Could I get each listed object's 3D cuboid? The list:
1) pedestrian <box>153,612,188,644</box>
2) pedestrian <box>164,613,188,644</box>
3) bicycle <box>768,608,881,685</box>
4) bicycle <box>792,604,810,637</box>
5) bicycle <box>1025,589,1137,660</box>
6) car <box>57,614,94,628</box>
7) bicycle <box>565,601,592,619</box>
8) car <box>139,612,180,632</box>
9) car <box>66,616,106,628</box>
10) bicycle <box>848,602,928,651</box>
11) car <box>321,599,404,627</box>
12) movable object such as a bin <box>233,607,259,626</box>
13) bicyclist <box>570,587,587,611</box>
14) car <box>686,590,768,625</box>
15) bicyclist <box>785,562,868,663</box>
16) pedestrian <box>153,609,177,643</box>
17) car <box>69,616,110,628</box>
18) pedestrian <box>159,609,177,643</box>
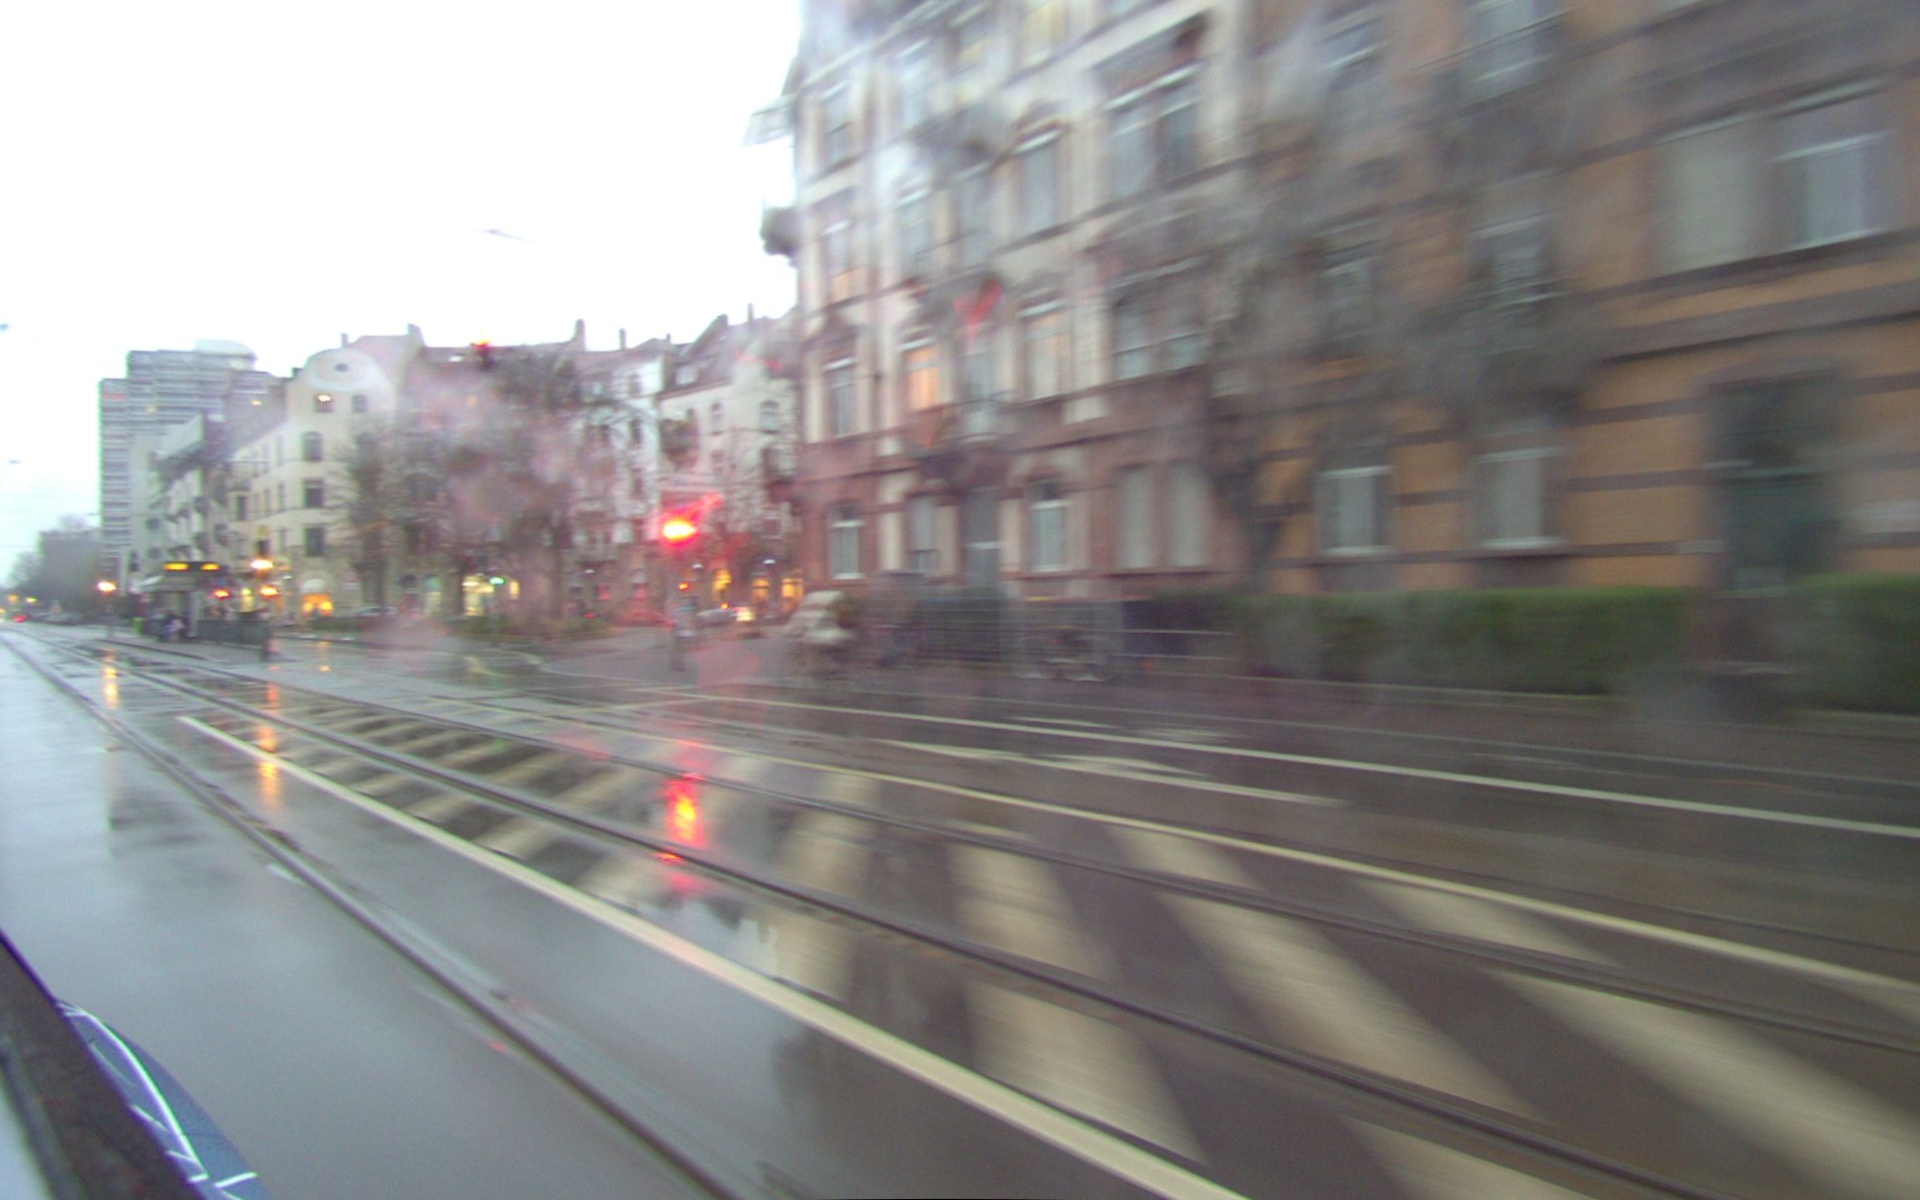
[{"bbox_3d":[-33.692,1.192,43.188,0.507,1.263,1.044,-1,3,45],"label":"pedestrian"},{"bbox_3d":[-33.165,1.207,42.818,0.517,1.227,0.645,-1,3,45],"label":"pedestrian"},{"bbox_3d":[-1.978,0.641,14.618,0.673,1.014,1.804,-2,1,-43],"label":"bicycle"},{"bbox_3d":[-3.930,0.495,25.027,0.394,0.764,1.814,-2,1,-9],"label":"bicycle"},{"bbox_3d":[1.822,0.357,15.473,0.411,1.014,1.851,-2,1,-43],"label":"bicycle"},{"bbox_3d":[-124.016,2.945,141.925,3.787,1.730,1.728,-6,3,-44],"label":"car"},{"bbox_3d":[-22.400,0.581,59.417,1.806,1.014,0.486,-1,1,34],"label":"bicycle"},{"bbox_3d":[-63.519,1.714,80.279,4.508,1.400,1.783,-1,3,42],"label":"car"},{"bbox_3d":[-110.434,2.762,127.879,3.786,1.424,1.728,-1,0,-44],"label":"car"},{"bbox_3d":[-1.385,0.484,19.099,0.395,0.869,1.851,-2,1,-43],"label":"bicycle"},{"bbox_3d":[-37.555,0.788,63.703,4.268,1.595,1.944,-2,0,-23],"label":"car"},{"bbox_3d":[-55.891,1.288,79.240,1.282,1.382,1.334,-1,3,44],"label":"movable object such as a bin"},{"bbox_3d":[-22.394,-0.032,59.402,0.763,1.374,0.525,-1,2,33],"label":"bicyclist"},{"bbox_3d":[-12.427,0.401,54.040,3.824,1.785,1.872,-1,0,13],"label":"car"},{"bbox_3d":[-1.913,0.164,14.516,0.696,1.374,0.945,-4,3,-44],"label":"bicyclist"},{"bbox_3d":[-34.809,1.124,44.306,0.579,1.413,0.676,-1,3,45],"label":"pedestrian"},{"bbox_3d":[-108.429,2.734,126.100,3.786,1.424,1.728,-2,1,-44],"label":"car"},{"bbox_3d":[-34.395,1.117,43.952,0.454,1.413,0.467,-1,3,45],"label":"pedestrian"}]
